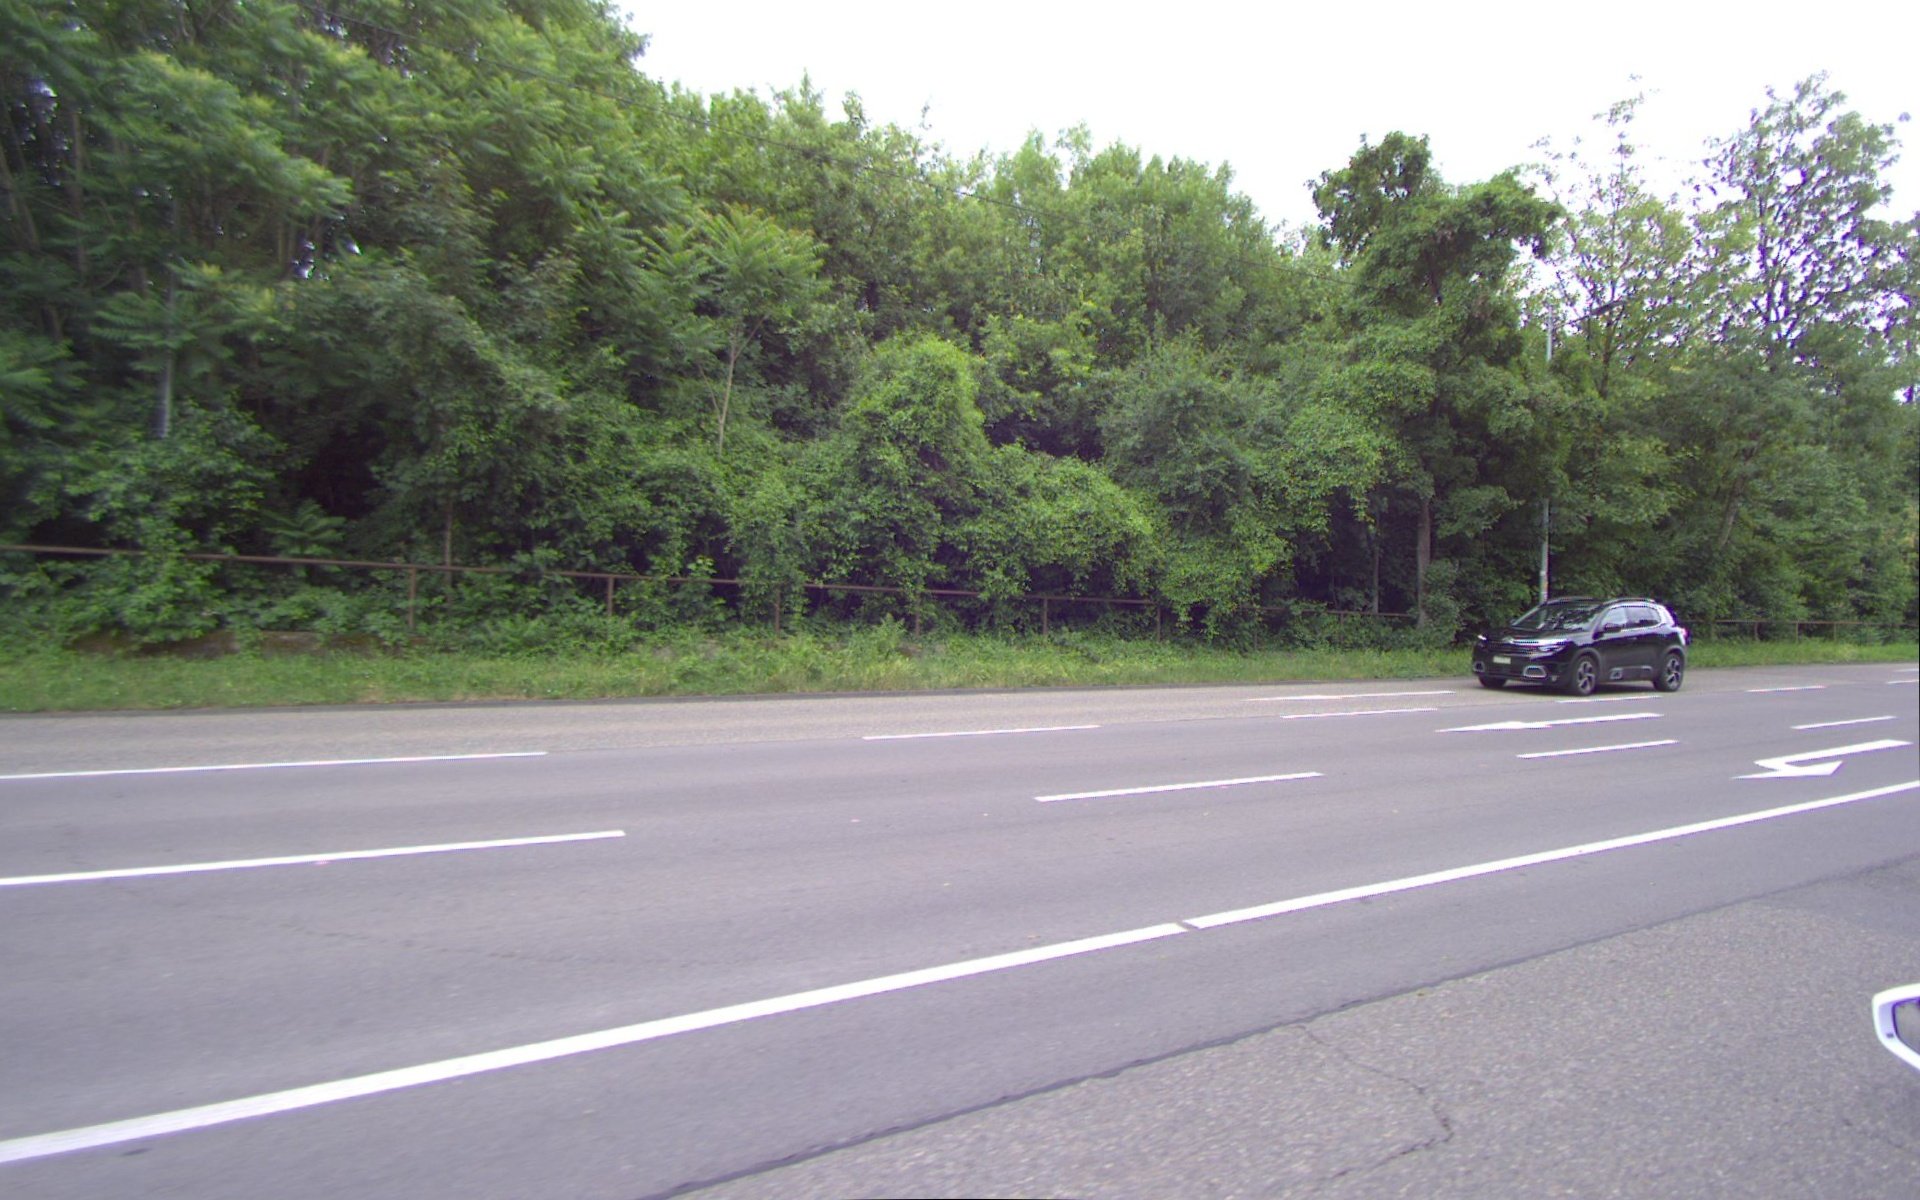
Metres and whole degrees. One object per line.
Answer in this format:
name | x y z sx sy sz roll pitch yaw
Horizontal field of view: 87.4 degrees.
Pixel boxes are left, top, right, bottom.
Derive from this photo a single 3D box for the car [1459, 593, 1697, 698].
car | 11.267 0.793 18.268 4.169 1.675 1.814 2 1 -29
